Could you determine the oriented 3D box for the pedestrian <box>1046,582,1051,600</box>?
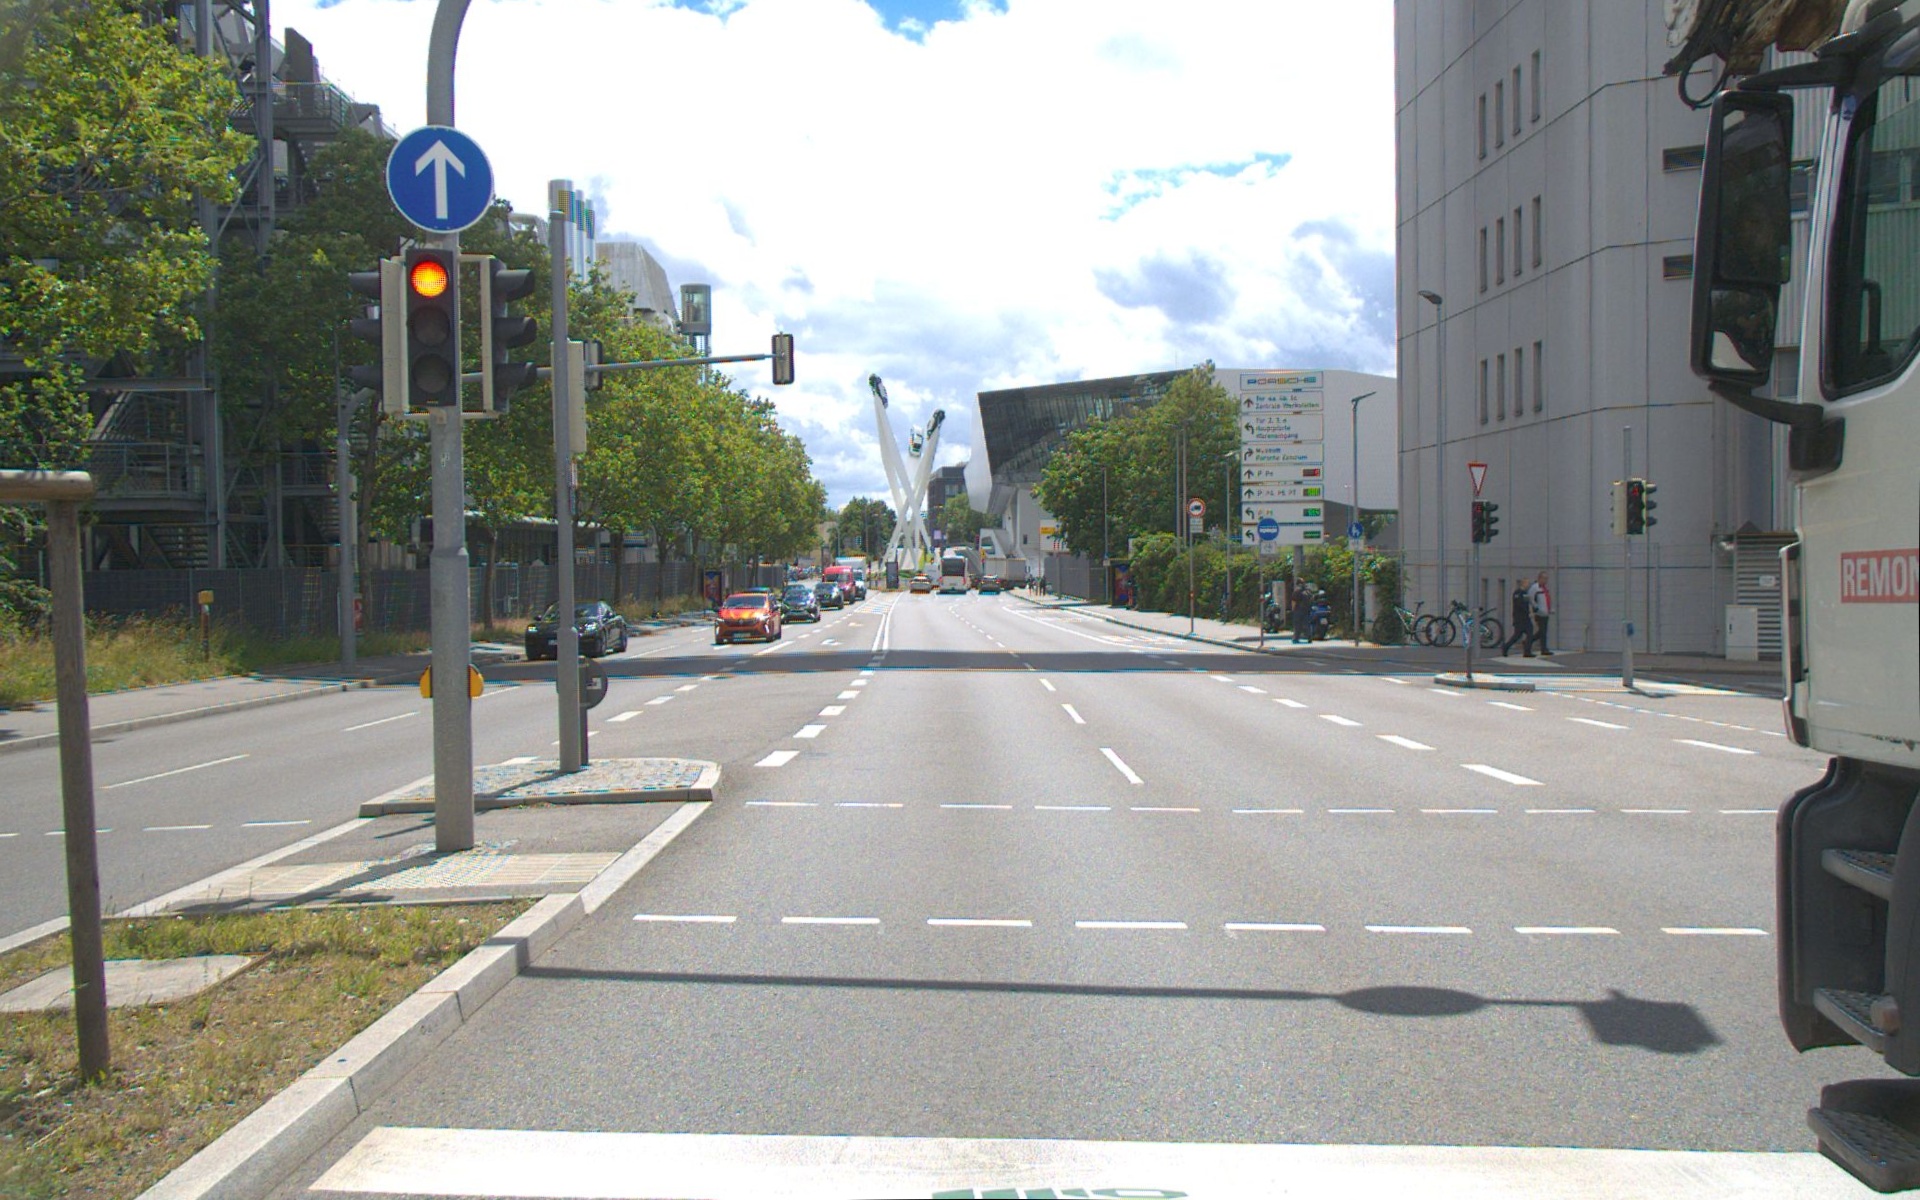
[{"bbox_3d":[7.192,-0.698,133.981,0.378,1.446,0.423,1,-1,0],"label":"pedestrian"}]

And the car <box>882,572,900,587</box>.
[{"bbox_3d":[-6.496,-1.925,155.619,1.525,1.295,3.701,-2,0,0],"label":"car"}]

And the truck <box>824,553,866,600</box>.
[{"bbox_3d":[-8.525,-1.703,123.177,2.538,3.382,7.078,1,0,0],"label":"truck"}]

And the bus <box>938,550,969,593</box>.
[{"bbox_3d":[-0.564,-2.523,150.047,2.730,3.750,6.942,1,0,0],"label":"bus"}]

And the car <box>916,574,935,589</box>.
[{"bbox_3d":[-3.089,-1.665,148.689,1.525,1.295,3.701,-2,0,1],"label":"car"}]

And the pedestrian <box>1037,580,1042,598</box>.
[{"bbox_3d":[6.421,-0.927,133.983,0.378,1.446,0.423,1,-1,0],"label":"pedestrian"}]

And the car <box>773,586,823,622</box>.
[{"bbox_3d":[-7.027,0.146,72.101,1.733,1.445,3.701,-2,0,0],"label":"car"}]

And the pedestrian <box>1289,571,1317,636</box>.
[{"bbox_3d":[9.023,0.094,43.537,0.523,1.669,0.657,1,-1,-6],"label":"pedestrian"}]

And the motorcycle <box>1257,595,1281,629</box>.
[{"bbox_3d":[9.736,0.368,52.154,0.448,1.040,1.913,1,0,1],"label":"motorcycle"}]

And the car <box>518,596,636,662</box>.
[{"bbox_3d":[-9.817,0.703,42.787,1.878,1.514,4.772,-2,0,0],"label":"car"}]

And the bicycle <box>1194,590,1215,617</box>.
[{"bbox_3d":[9.665,0.151,65.414,0.410,1.040,1.910,1,0,-5],"label":"bicycle"}]

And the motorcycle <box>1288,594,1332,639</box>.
[{"bbox_3d":[9.544,0.450,45.167,0.410,1.186,1.951,1,0,-11],"label":"motorcycle"}]

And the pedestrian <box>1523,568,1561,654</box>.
[{"bbox_3d":[12.707,0.235,36.109,0.695,1.825,0.694,-2,1,20],"label":"pedestrian"}]

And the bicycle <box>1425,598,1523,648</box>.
[{"bbox_3d":[12.021,0.530,38.720,2.149,1.105,0.475,1,-1,35],"label":"bicycle"}]

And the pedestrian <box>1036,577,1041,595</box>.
[{"bbox_3d":[6.465,-1.133,136.315,0.378,1.446,0.423,1,-1,0],"label":"pedestrian"}]

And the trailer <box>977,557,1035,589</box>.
[{"bbox_3d":[4.856,-2.776,172.234,3.250,3.047,10.380,1,0,18],"label":"trailer"}]

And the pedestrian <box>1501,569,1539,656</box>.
[{"bbox_3d":[12.075,0.265,35.659,0.695,1.825,0.643,-2,1,19],"label":"pedestrian"}]

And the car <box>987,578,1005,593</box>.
[{"bbox_3d":[3.149,-1.282,146.310,1.525,1.295,3.701,-2,0,1],"label":"car"}]

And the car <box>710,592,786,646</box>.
[{"bbox_3d":[-6.280,0.533,49.285,1.733,1.445,3.701,-2,0,0],"label":"car"}]

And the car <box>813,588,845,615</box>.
[{"bbox_3d":[-7.546,0.087,95.634,1.525,1.473,3.772,-2,0,0],"label":"car"}]

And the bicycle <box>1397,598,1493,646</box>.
[{"bbox_3d":[11.635,0.527,39.713,2.180,1.105,0.475,1,-1,35],"label":"bicycle"}]

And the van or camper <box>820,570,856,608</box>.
[{"bbox_3d":[-8.144,-0.737,110.611,2.005,2.509,5.594,0,0,0],"label":"van or camper"}]

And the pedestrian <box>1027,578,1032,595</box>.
[{"bbox_3d":[5.747,-1.111,137.046,0.378,1.446,0.423,1,-1,0],"label":"pedestrian"}]

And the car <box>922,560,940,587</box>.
[{"bbox_3d":[-2.985,-2.692,171.105,1.806,2.669,3.999,1,0,-1],"label":"car"}]

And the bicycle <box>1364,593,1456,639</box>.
[{"bbox_3d":[11.149,0.385,41.038,2.180,1.105,0.475,1,-1,35],"label":"bicycle"}]
